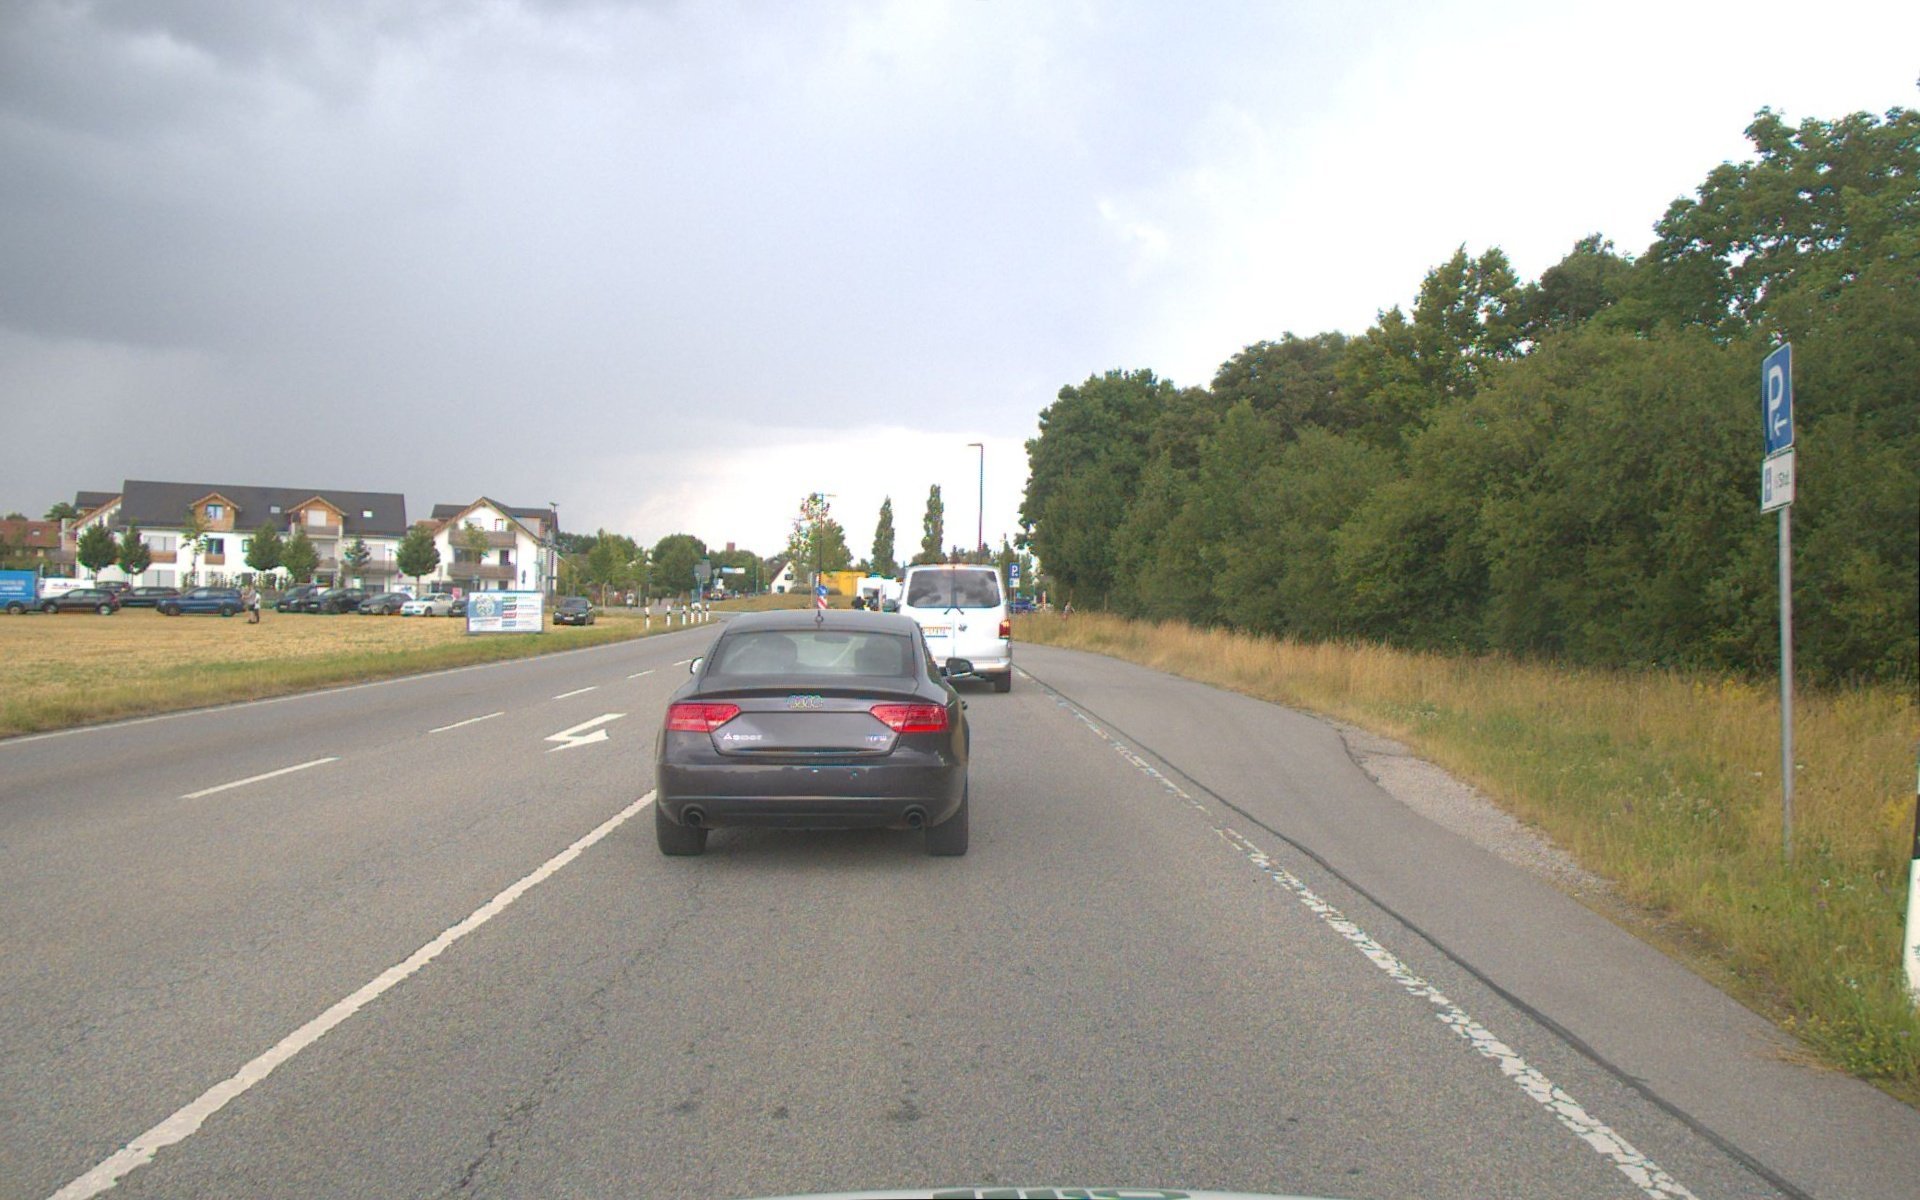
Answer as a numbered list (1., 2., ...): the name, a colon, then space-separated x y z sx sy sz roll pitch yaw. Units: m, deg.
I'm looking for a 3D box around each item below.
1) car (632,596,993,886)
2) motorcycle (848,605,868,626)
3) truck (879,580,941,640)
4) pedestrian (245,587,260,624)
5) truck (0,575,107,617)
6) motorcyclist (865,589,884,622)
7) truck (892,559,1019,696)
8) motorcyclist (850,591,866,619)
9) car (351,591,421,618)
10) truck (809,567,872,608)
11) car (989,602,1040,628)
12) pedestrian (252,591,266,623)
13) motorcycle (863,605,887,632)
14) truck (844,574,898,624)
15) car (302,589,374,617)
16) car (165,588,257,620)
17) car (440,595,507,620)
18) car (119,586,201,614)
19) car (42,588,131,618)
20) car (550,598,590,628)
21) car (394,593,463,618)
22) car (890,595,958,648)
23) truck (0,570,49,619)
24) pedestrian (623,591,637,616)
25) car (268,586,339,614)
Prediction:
1. car: -0.813 0.728 10.576 1.837 1.479 4.175 0 0 -2
2. motorcycle: -5.285 0.791 85.549 0.926 1.037 2.280 1 0 -7
3. truck: -1.793 0.350 60.435 2.149 2.049 5.083 1 0 -1
4. pedestrian: -35.055 0.265 81.974 0.539 1.817 0.676 1 0 -13
5. truck: -51.818 -0.227 94.283 5.492 2.235 2.587 1 0 -24
6. motorcyclist: -3.683 0.230 71.453 0.756 1.407 0.820 1 0 -1
7. truck: -0.103 0.406 27.172 1.865 2.033 4.627 1 0 -1
8. motorcyclist: -5.284 0.255 85.484 0.771 1.380 0.852 1 0 -7
9. car: -35.181 0.266 101.461 1.951 1.562 4.214 1 0 17
10. truck: -11.536 -1.225 158.267 3.522 3.641 9.901 2 0 -19
11. car: 4.629 1.294 140.099 3.904 2.049 2.001 2 0 19
12. pedestrian: -35.221 0.351 83.060 0.581 1.583 0.622 1 0 -20
13. motorcycle: -3.681 0.779 71.494 0.901 1.113 2.188 1 0 0
14. truck: -5.240 -0.055 96.637 2.577 2.785 5.857 2 0 -8
15. car: -38.275 0.182 101.877 1.951 1.657 4.214 1 0 17
16. car: -42.523 0.225 93.995 4.649 1.727 1.987 1 0 -22
17. car: -29.618 0.465 100.786 1.951 1.471 4.214 1 0 17
18. car: -50.940 0.014 105.407 4.560 1.727 1.987 1 0 -22
19. car: -48.313 0.175 91.534 4.096 1.545 1.987 1 0 -22
20. car: -20.892 0.677 88.668 1.958 1.467 3.988 1 1 -12
21. car: -32.465 0.333 101.117 1.951 1.471 4.214 1 0 17
22. car: -1.092 0.629 49.883 1.953 1.511 3.998 1 0 -2
23. truck: -51.038 -0.316 86.803 5.377 2.489 2.376 1 0 -24
24. pedestrian: -21.386 0.238 107.175 0.686 1.613 0.658 1 0 15
25. car: -41.309 0.006 104.124 1.951 1.657 4.214 1 0 17
